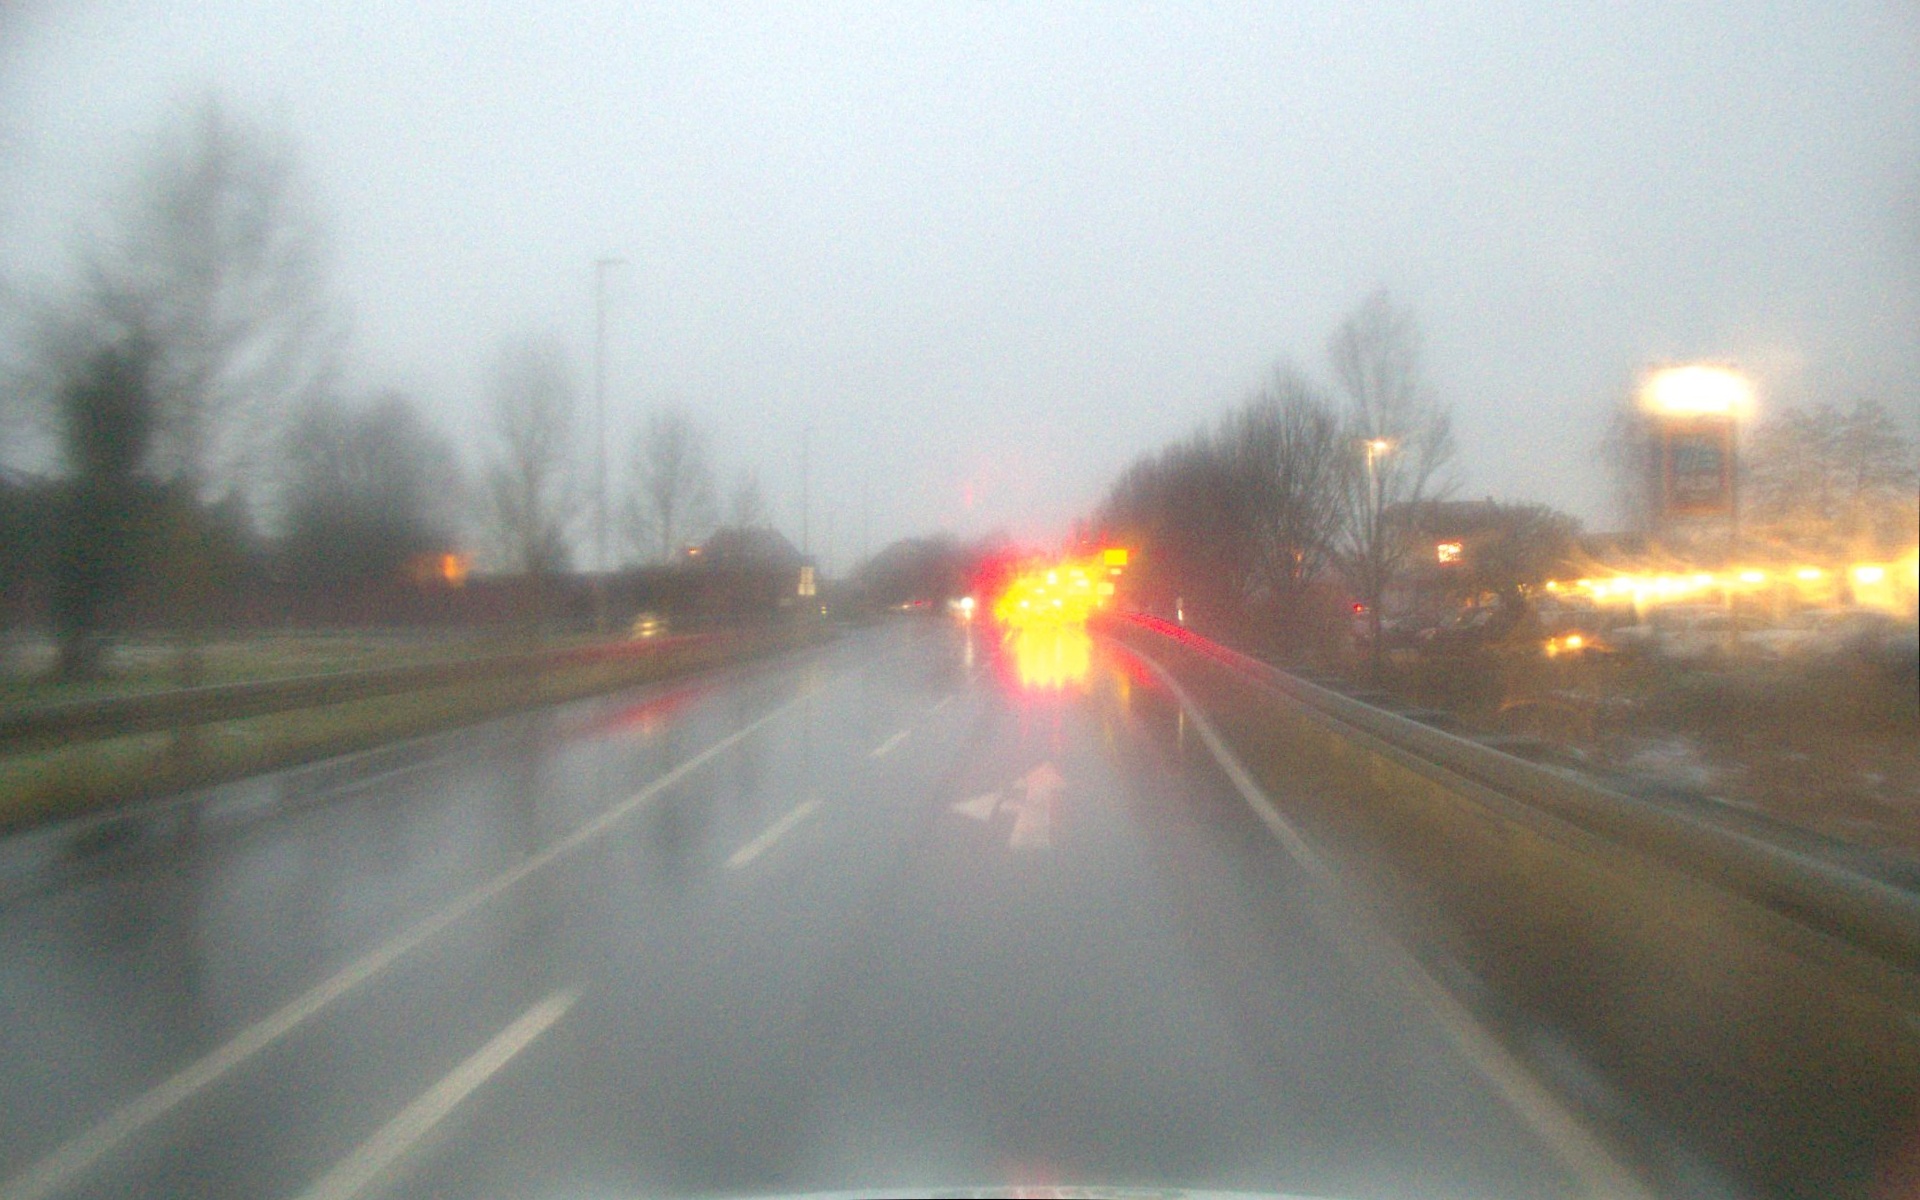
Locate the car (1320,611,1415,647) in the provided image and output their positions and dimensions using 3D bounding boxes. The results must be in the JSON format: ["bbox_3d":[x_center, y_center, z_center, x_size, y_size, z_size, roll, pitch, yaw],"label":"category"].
[{"bbox_3d":[16.765,1.200,68.110,3.468,1.448,1.660,0,-2,-7],"label":"car"}]

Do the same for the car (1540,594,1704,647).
[{"bbox_3d":[20.782,0.649,51.933,4.638,1.515,1.657,-1,-2,-13],"label":"car"}]

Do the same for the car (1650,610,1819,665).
[{"bbox_3d":[21.608,1.018,46.215,4.050,1.447,1.659,-1,0,-9],"label":"car"}]

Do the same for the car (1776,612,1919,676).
[{"bbox_3d":[22.431,1.063,40.756,3.797,1.503,1.993,0,0,-14],"label":"car"}]

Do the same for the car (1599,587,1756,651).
[{"bbox_3d":[21.336,0.572,49.224,4.054,1.868,1.657,0,-2,-12],"label":"car"}]

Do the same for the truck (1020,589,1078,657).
[{"bbox_3d":[3.958,1.006,74.162,2.479,2.919,5.924,-1,0,2],"label":"truck"}]

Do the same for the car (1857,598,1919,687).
[{"bbox_3d":[22.767,0.897,37.319,4.175,1.887,1.993,-1,0,-14],"label":"car"}]

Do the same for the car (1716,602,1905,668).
[{"bbox_3d":[22.382,0.906,43.584,4.175,1.658,1.993,0,0,-14],"label":"car"}]
